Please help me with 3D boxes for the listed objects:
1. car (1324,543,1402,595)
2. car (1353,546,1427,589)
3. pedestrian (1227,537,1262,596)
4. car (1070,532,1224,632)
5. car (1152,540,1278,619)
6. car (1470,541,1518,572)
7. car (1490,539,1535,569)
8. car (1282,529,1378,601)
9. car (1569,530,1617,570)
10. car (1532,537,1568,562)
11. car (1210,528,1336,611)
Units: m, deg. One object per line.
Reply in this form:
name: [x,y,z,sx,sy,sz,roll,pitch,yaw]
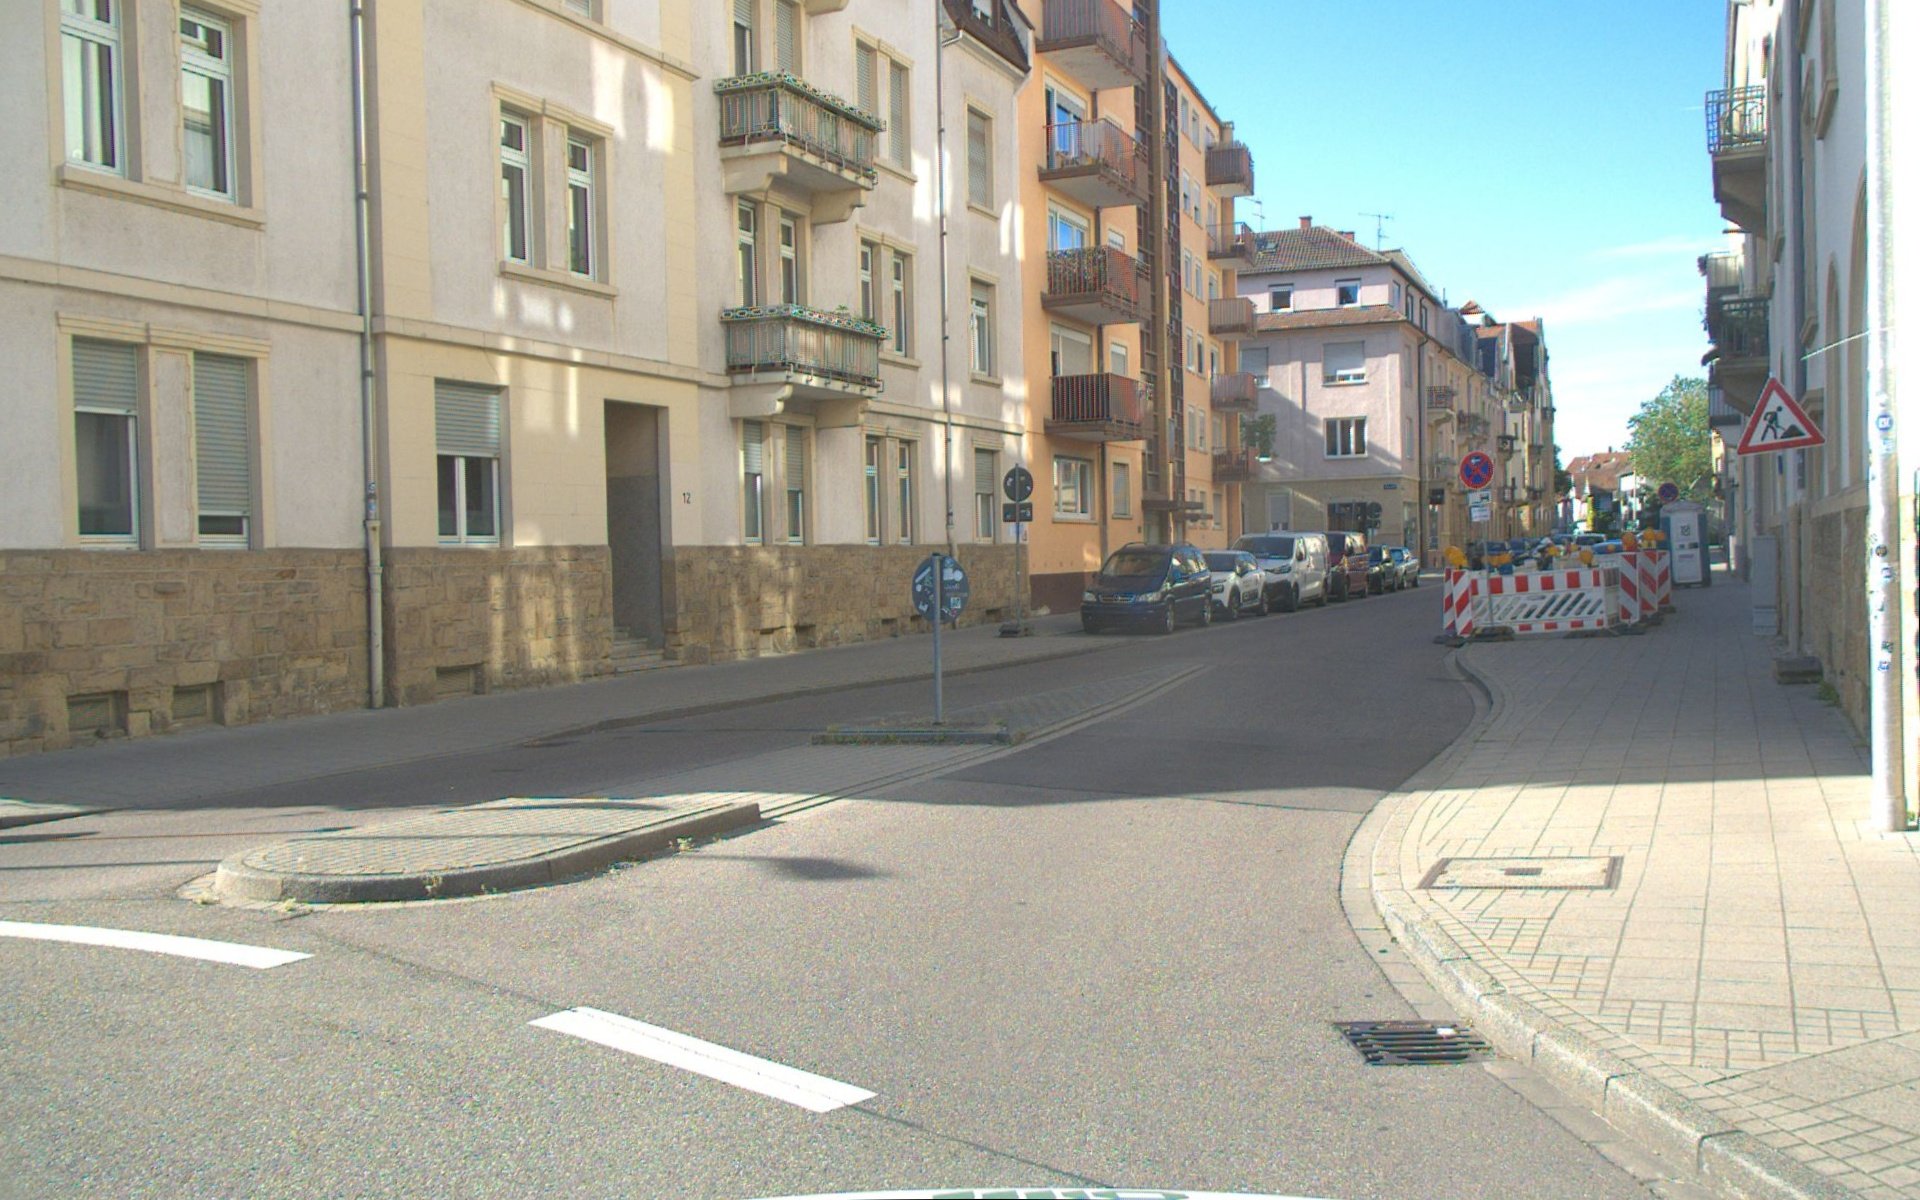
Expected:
car: [12.835,-1.013,52.533,1.727,1.528,3.999,-1,1,23]
car: [15.025,-1.165,57.655,1.728,1.401,4.476,0,2,25]
pedestrian: [9.080,-1.068,52.721,0.905,1.849,0.995,0,1,21]
car: [3.697,-0.394,31.987,1.727,1.801,4.293,0,2,24]
car: [5.768,-0.502,37.015,1.727,1.649,4.293,0,2,24]
car: [26.672,-2.163,82.546,1.647,1.451,4.270,2,2,26]
car: [30.757,-2.555,91.988,1.963,1.609,4.486,2,2,24]
car: [10.699,-1.043,47.568,1.727,1.958,4.933,0,2,24]
car: [32.377,-2.533,84.541,1.964,1.947,4.485,2,2,24]
car: [39.688,-3.368,111.157,1.963,1.647,4.486,2,2,24]
car: [7.990,-0.815,41.804,1.936,1.958,5.307,0,2,24]
